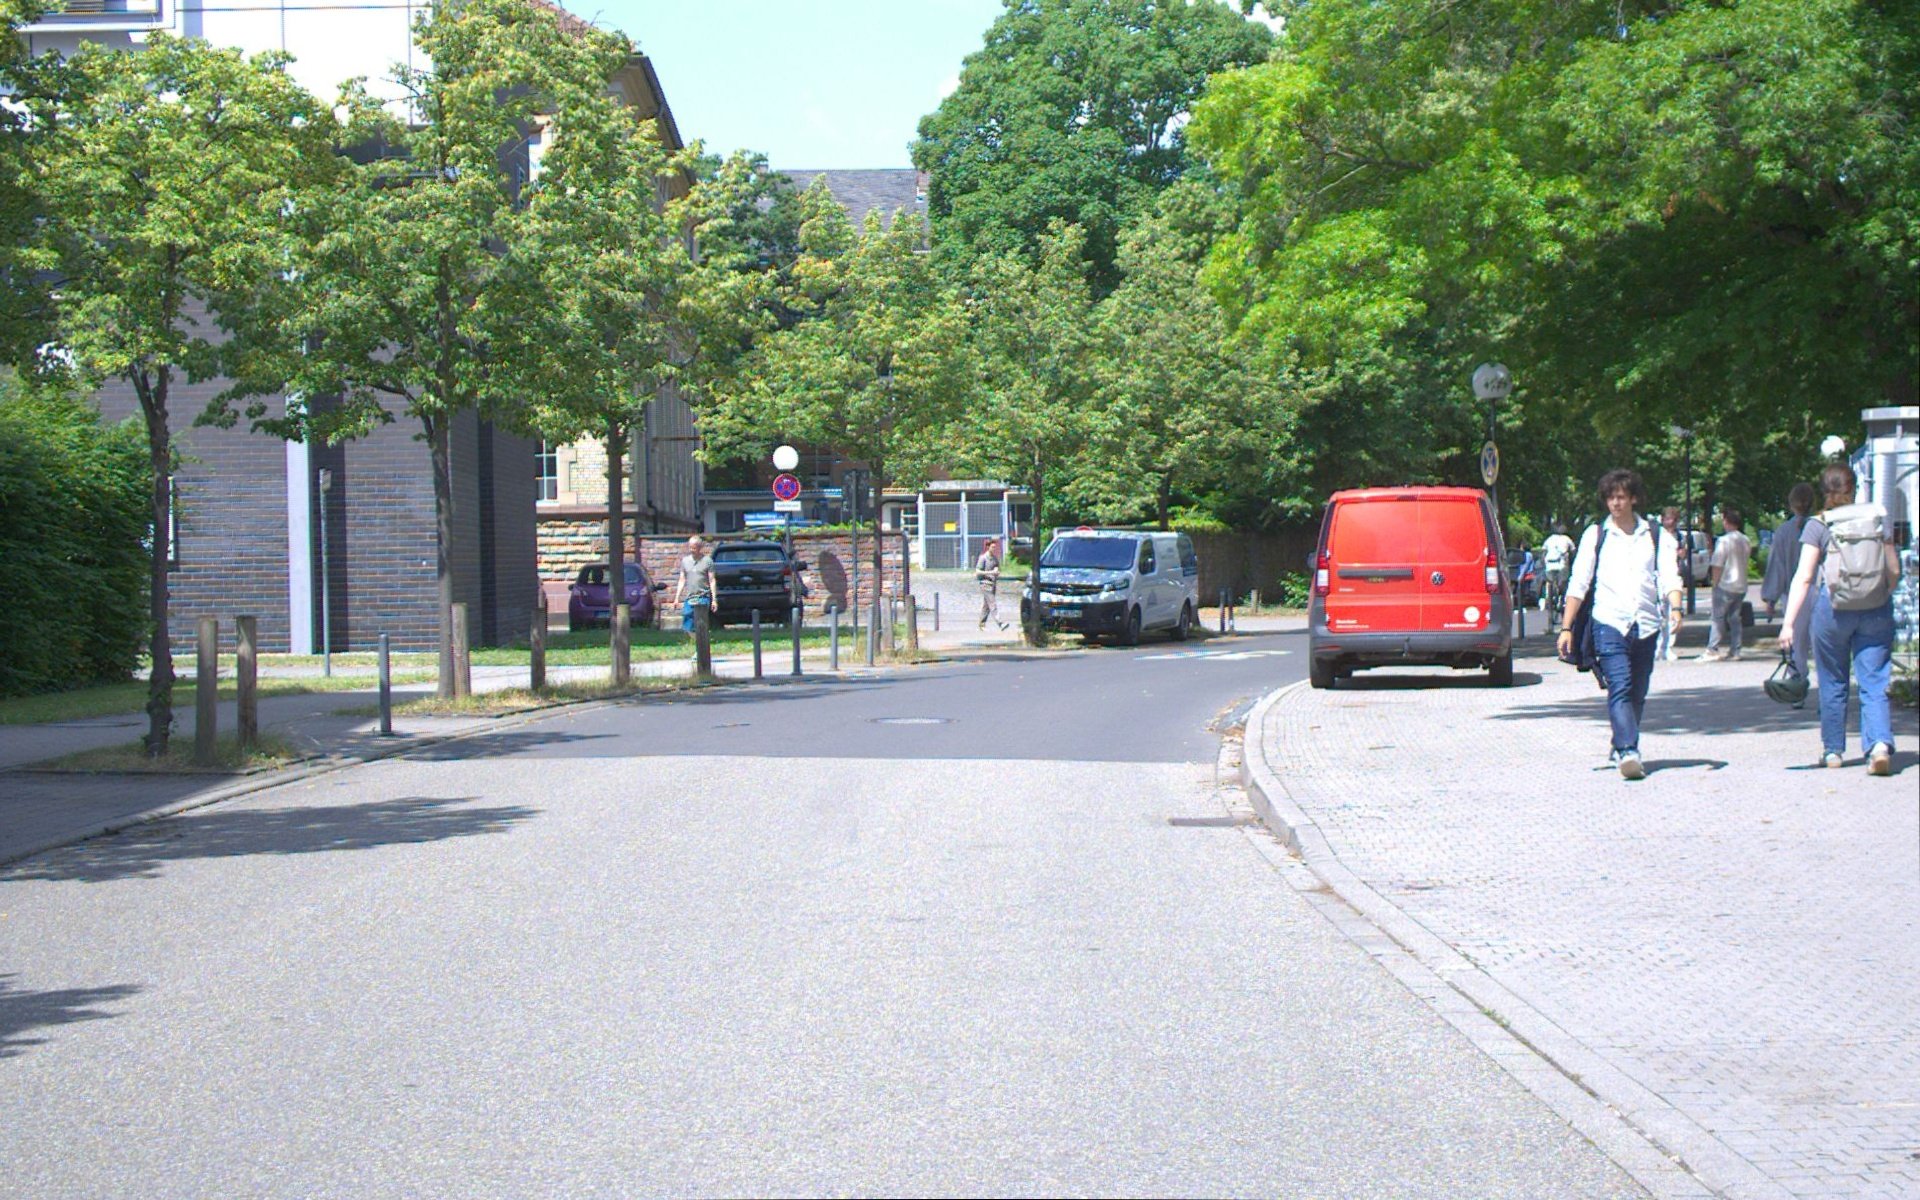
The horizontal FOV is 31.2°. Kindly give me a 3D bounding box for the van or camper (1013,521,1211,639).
[{"bbox_3d":[2.672,-0.379,58.913,1.955,1.916,5.415,0,1,19],"label":"van or camper"}]

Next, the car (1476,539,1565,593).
[{"bbox_3d":[14.846,-0.921,90.971,1.617,1.383,3.996,-1,1,19],"label":"car"}]

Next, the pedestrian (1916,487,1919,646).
[{"bbox_3d":[5.590,0.178,18.380,0.668,1.594,0.985,-1,1,2],"label":"pedestrian"}]

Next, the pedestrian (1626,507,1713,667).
[{"bbox_3d":[8.132,-0.153,39.401,0.721,1.815,0.630,-1,1,-37],"label":"pedestrian"}]

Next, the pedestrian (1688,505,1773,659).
[{"bbox_3d":[8.646,-0.201,38.570,0.743,1.704,0.564,-1,1,-37],"label":"pedestrian"}]

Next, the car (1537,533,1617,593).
[{"bbox_3d":[17.804,-1.083,99.128,1.617,1.673,3.996,-1,1,19],"label":"car"}]

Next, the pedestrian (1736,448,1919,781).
[{"bbox_3d":[4.738,0.071,18.713,0.850,1.758,0.716,-1,1,2],"label":"pedestrian"}]

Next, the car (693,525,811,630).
[{"bbox_3d":[-4.046,-0.455,66.909,2.174,1.919,5.187,-1,1,-3],"label":"car"}]

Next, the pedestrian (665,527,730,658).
[{"bbox_3d":[-3.564,-0.110,46.650,0.584,1.758,0.911,-1,1,14],"label":"pedestrian"}]

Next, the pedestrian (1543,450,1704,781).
[{"bbox_3d":[3.649,0.079,18.948,0.694,1.775,0.787,-1,1,0],"label":"pedestrian"}]

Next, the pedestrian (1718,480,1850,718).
[{"bbox_3d":[5.739,-0.010,23.942,0.714,1.626,0.710,-1,1,28],"label":"pedestrian"}]

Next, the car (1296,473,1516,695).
[{"bbox_3d":[4.225,-0.177,32.229,1.849,1.885,4.889,-1,1,9],"label":"car"}]

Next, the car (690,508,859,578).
[{"bbox_3d":[-5.031,-1.541,93.178,4.156,1.817,2.001,-1,1,-18],"label":"car"}]

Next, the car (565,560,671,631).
[{"bbox_3d":[-6.630,-0.111,66.975,1.817,1.319,3.768,-1,1,-2],"label":"car"}]
